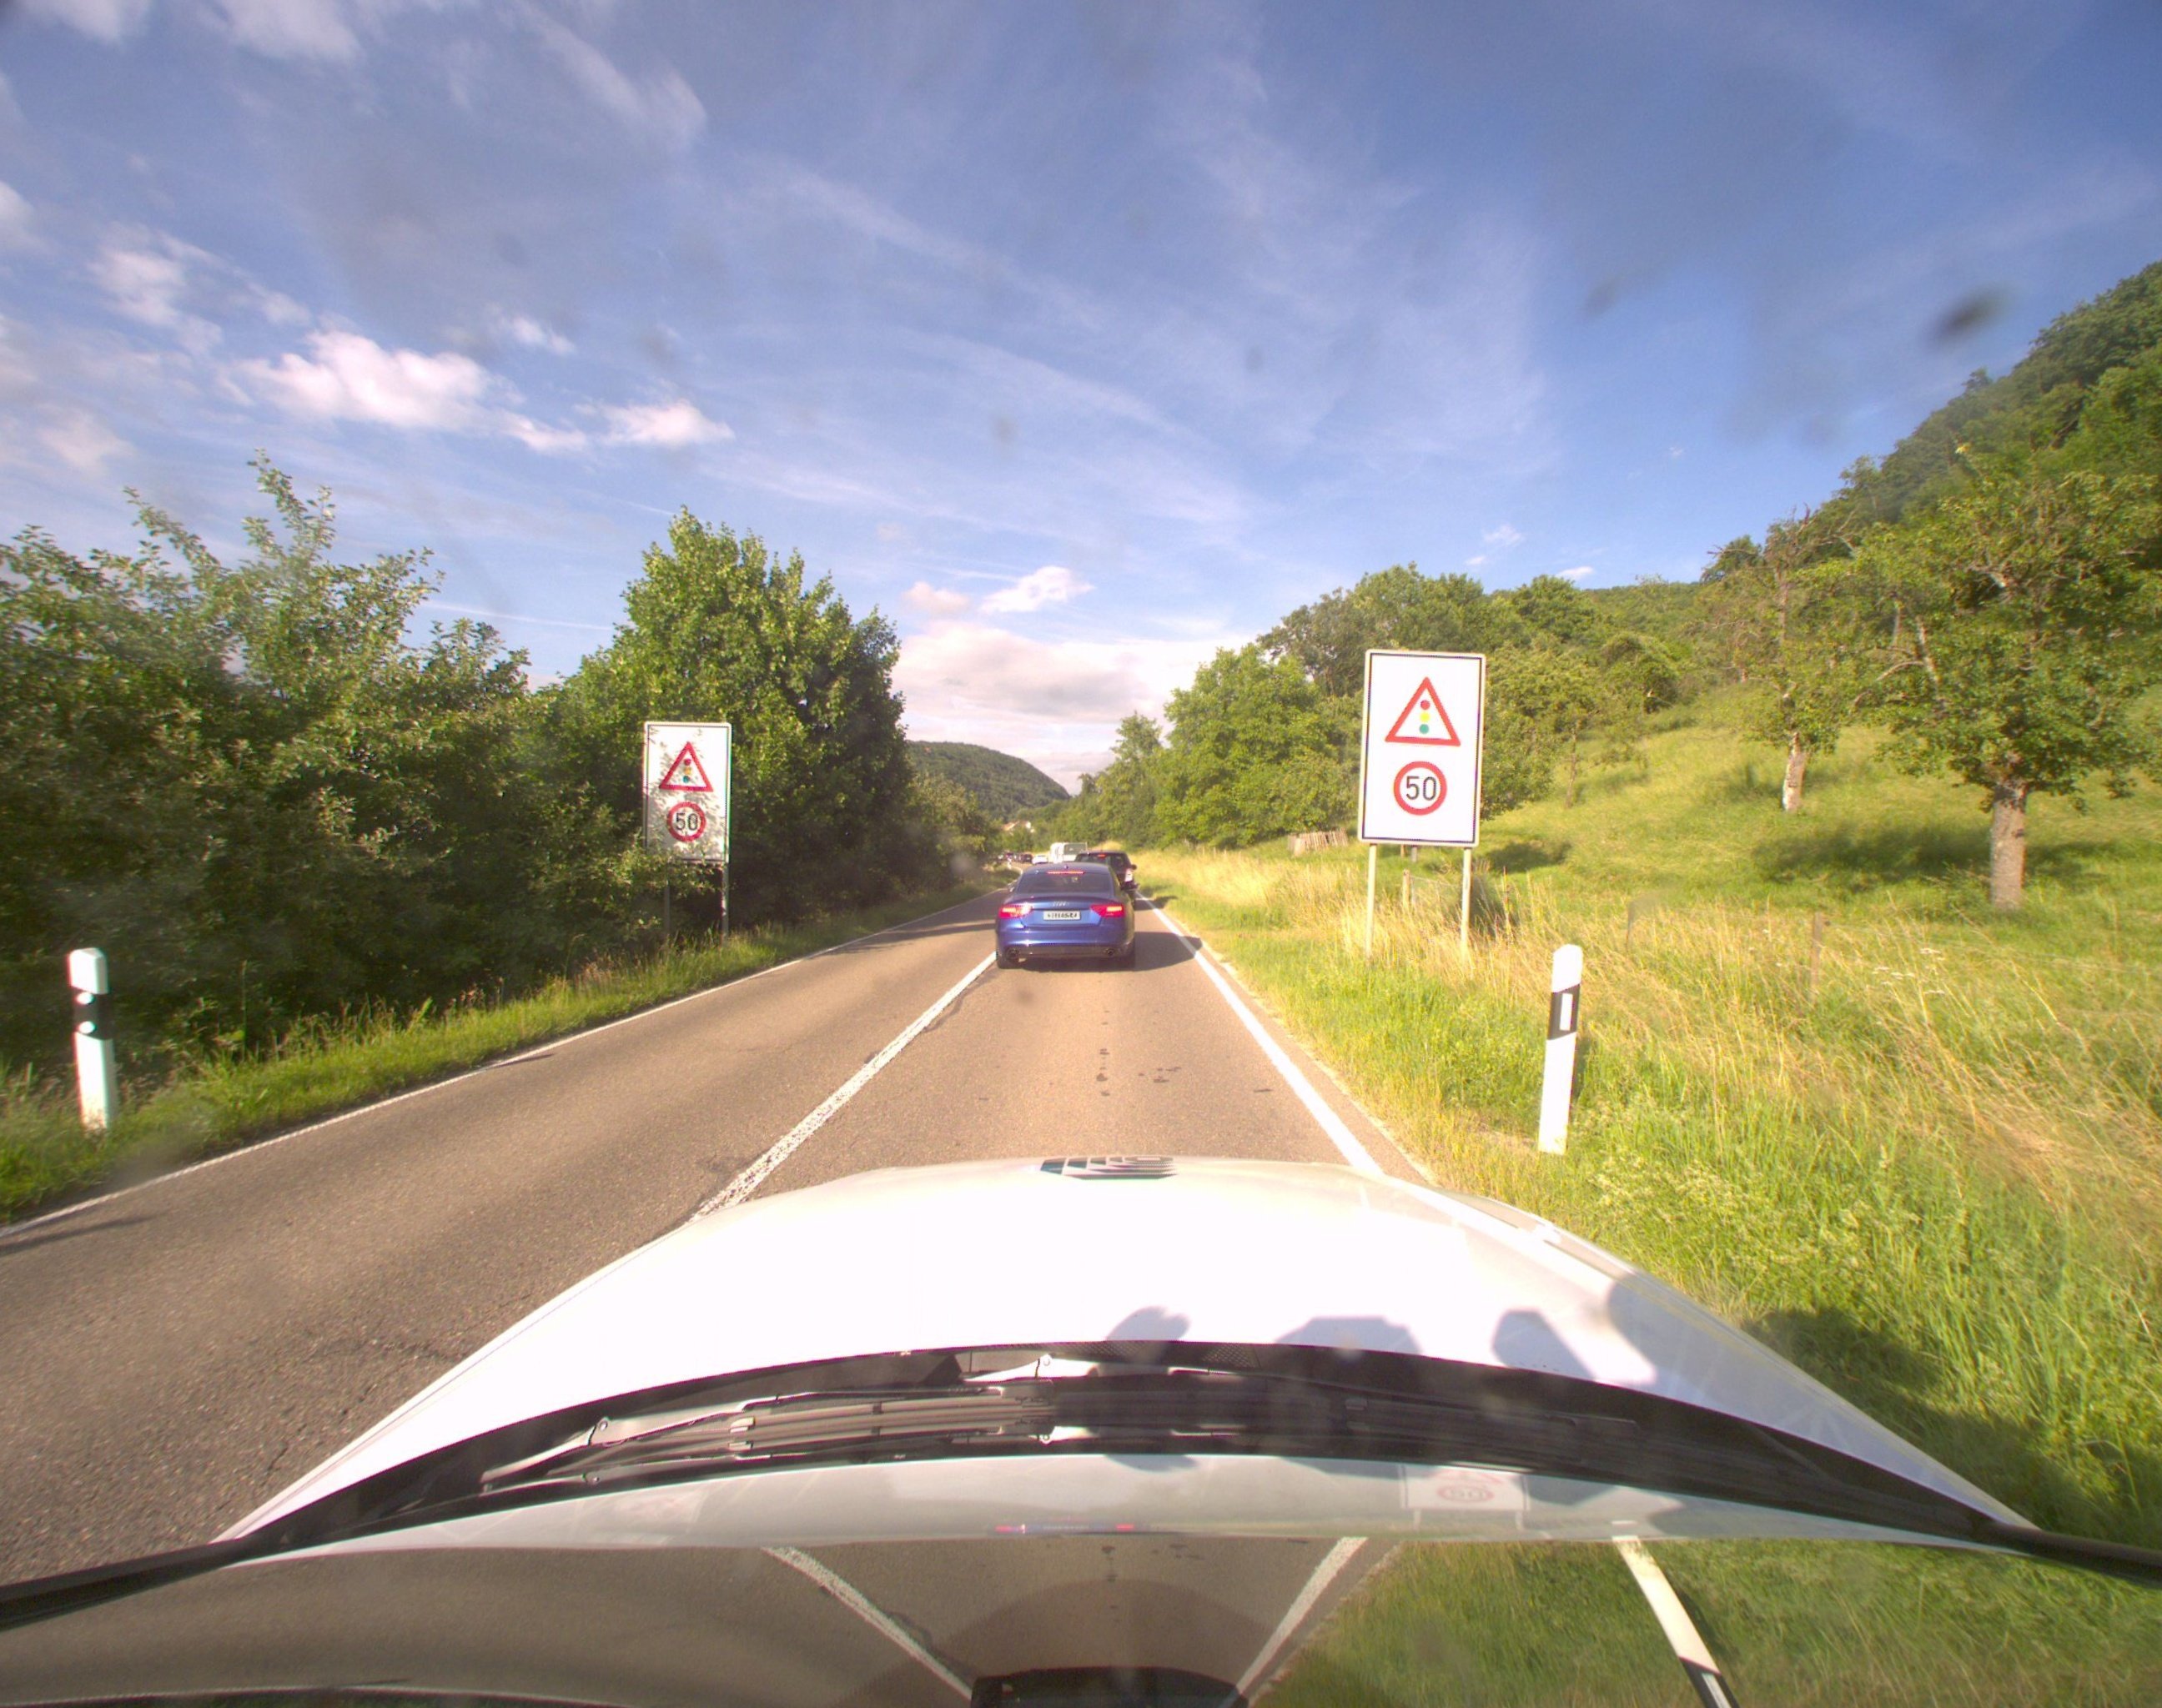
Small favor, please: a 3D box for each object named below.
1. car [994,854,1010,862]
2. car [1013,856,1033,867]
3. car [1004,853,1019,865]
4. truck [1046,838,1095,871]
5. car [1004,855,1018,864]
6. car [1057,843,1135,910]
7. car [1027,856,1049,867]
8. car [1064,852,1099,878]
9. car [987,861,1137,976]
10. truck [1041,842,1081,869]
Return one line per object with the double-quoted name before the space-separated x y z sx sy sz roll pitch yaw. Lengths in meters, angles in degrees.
"car" -15.325 0.813 157.891 2.001 1.482 3.972 0 -1 -21
"car" -8.790 1.131 122.590 2.000 1.482 3.974 0 -1 -19
"car" -12.012 0.906 140.472 1.996 2.014 3.982 0 -1 -13
"truck" -1.086 0.077 71.958 2.864 2.665 10.359 0 0 -9
"car" -12.544 0.967 145.949 1.997 1.482 3.979 0 -1 -15
"car" 0.442 0.598 22.757 1.986 1.702 4.001 0 -1 1
"car" -5.884 1.006 110.565 2.000 1.482 3.974 0 -1 -19
"car" 0.057 0.659 48.575 1.986 1.482 4.001 0 -1 1
"car" -0.147 0.788 11.742 1.786 1.360 4.002 0 -1 2
"truck" -2.229 0.149 85.973 2.864 2.665 10.610 0 0 -9
